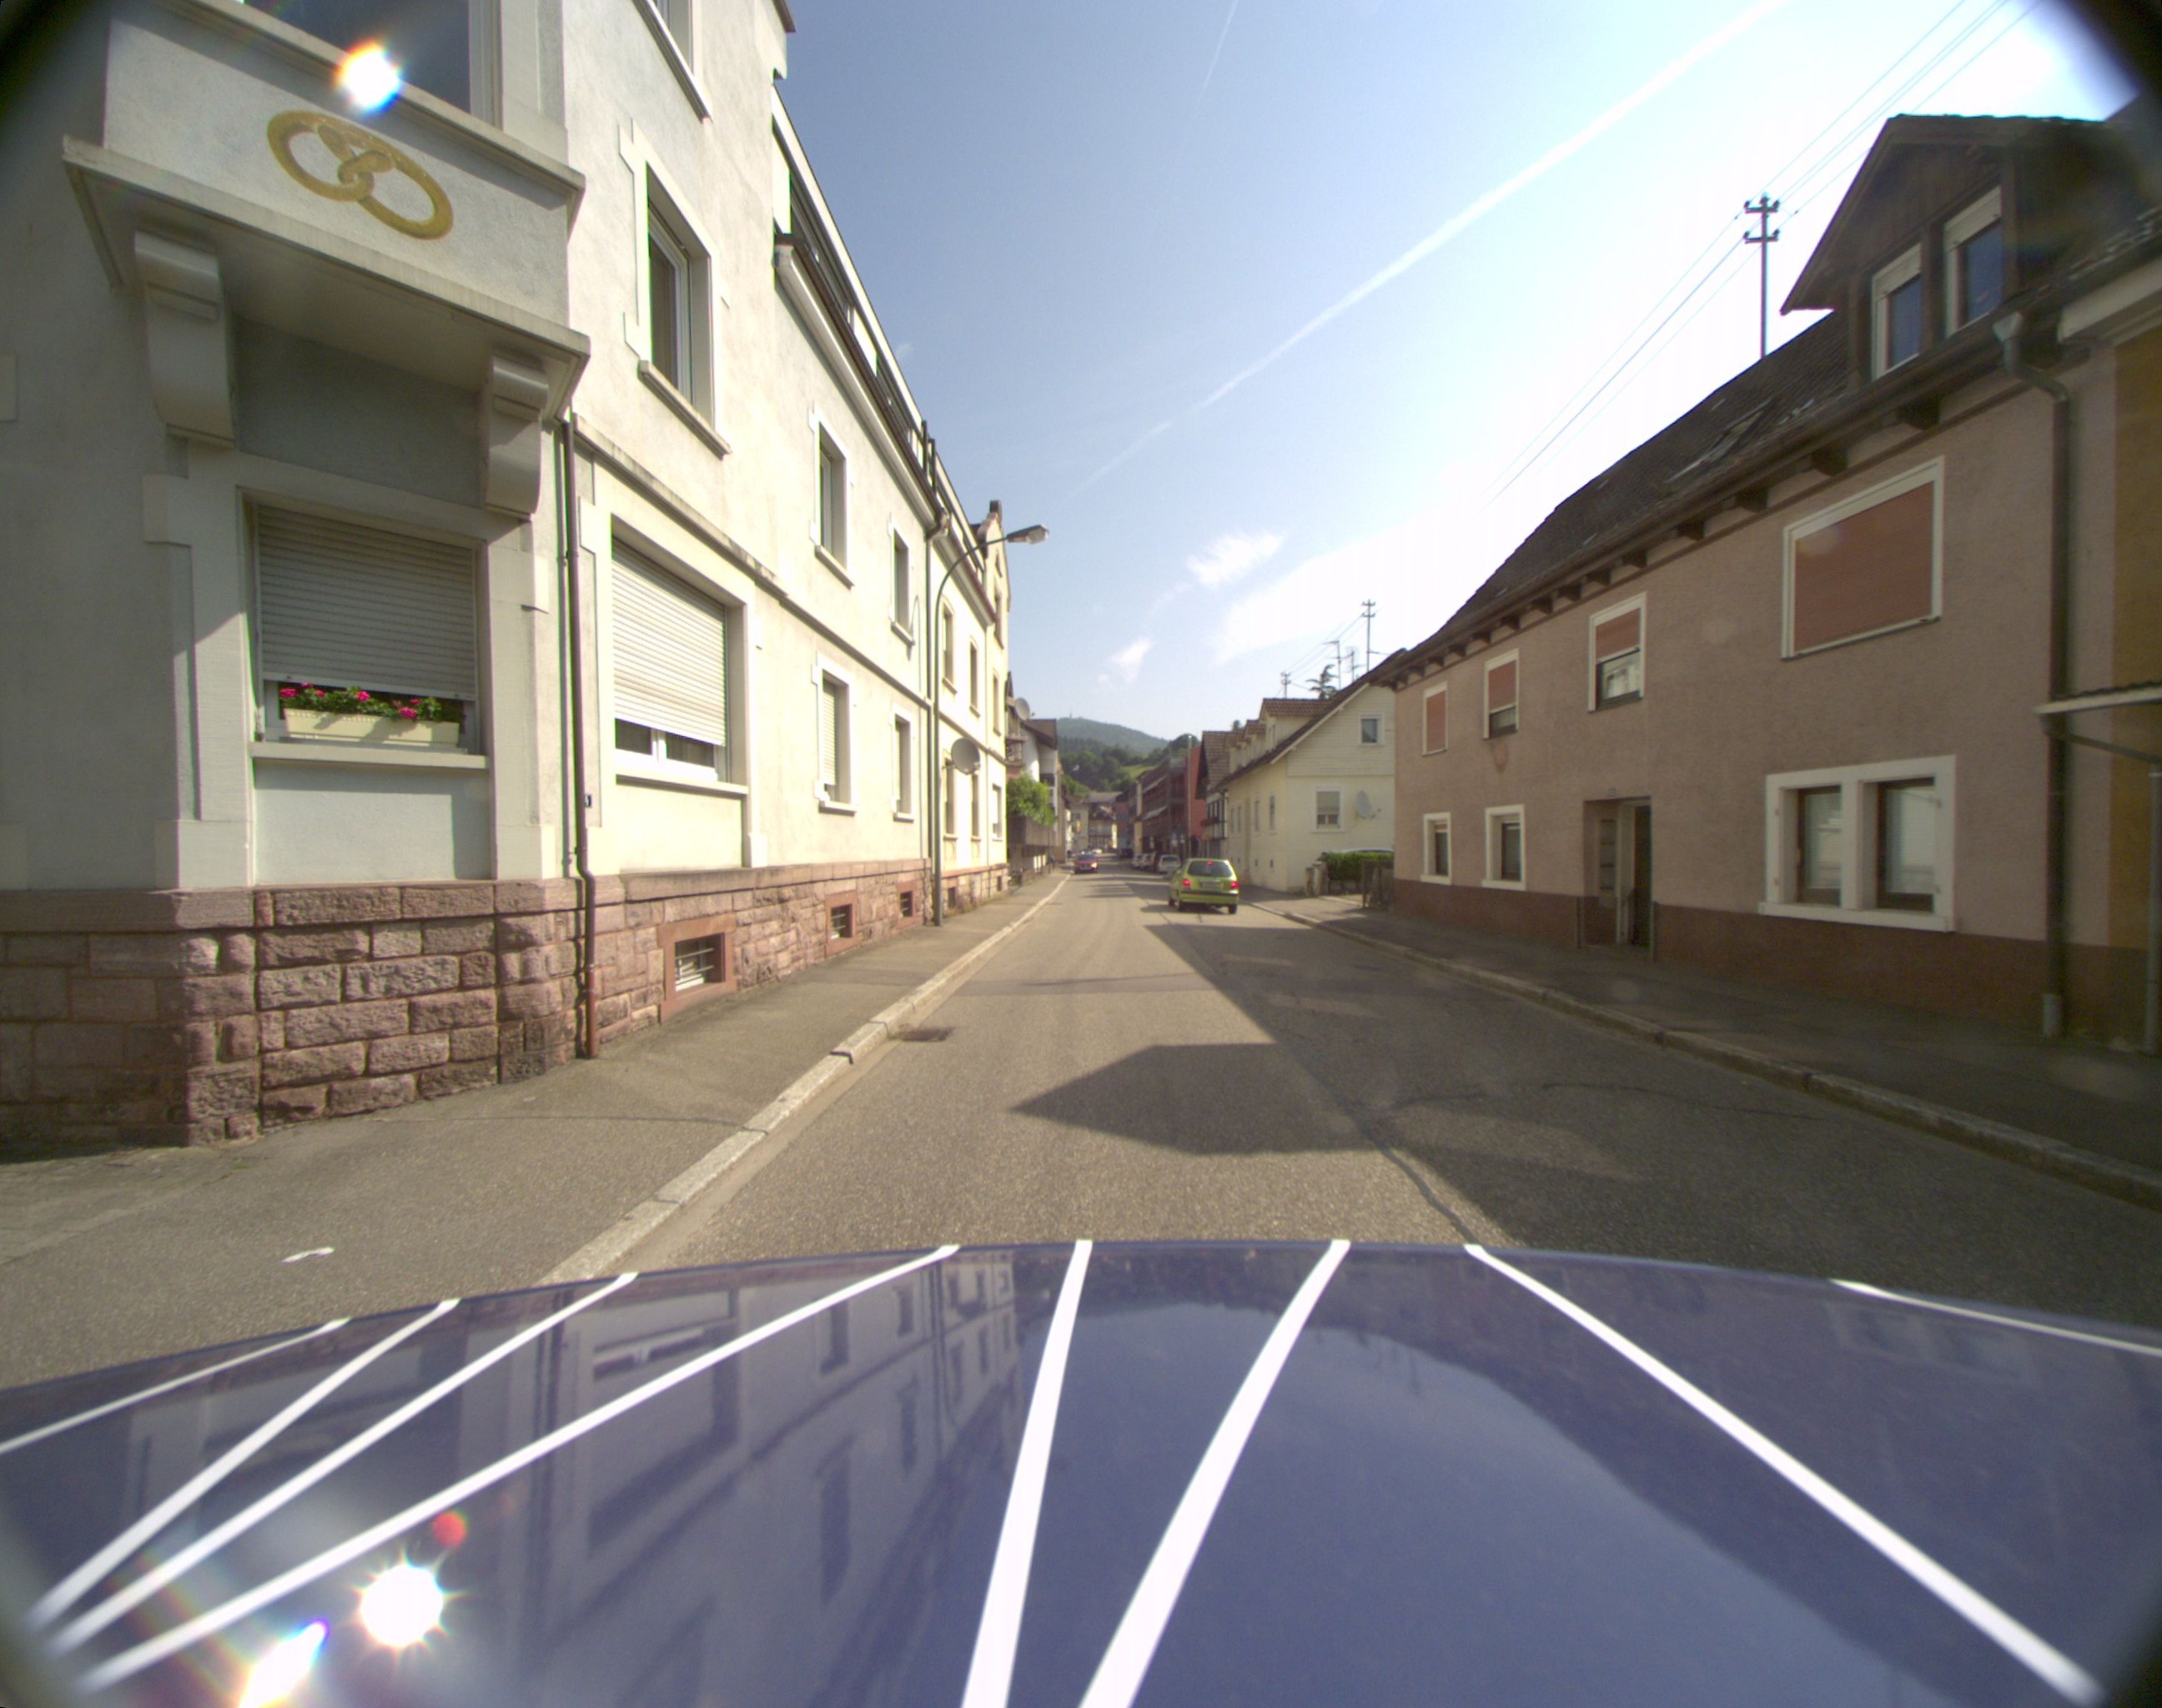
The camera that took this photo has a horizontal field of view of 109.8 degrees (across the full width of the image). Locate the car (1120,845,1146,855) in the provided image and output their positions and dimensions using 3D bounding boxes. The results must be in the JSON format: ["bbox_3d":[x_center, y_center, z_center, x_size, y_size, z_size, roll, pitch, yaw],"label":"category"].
[{"bbox_3d":[8.682,-0.659,126.597,4.000,1.674,1.834,-1,-1,-8],"label":"car"}]

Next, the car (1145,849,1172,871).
[{"bbox_3d":[6.495,0.473,64.043,1.724,1.786,4.268,-1,0,-2],"label":"car"}]

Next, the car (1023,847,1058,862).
[{"bbox_3d":[-4.582,0.070,86.433,3.837,1.470,1.700,-2,0,-2],"label":"car"}]

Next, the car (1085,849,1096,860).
[{"bbox_3d":[1.906,0.115,145.164,1.998,2.002,3.999,-2,1,1],"label":"car"}]

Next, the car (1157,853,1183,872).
[{"bbox_3d":[6.855,0.645,58.825,1.670,1.423,3.569,-2,0,1],"label":"car"}]

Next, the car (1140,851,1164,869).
[{"bbox_3d":[6.503,0.549,69.815,1.679,1.580,3.948,-1,0,-1],"label":"car"}]

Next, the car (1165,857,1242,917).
[{"bbox_3d":[3.436,0.875,21.867,1.600,1.456,3.659,3,0,1],"label":"car"}]

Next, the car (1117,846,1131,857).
[{"bbox_3d":[6.637,-0.460,118.299,1.787,1.566,3.888,-4,1,0],"label":"car"}]

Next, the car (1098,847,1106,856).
[{"bbox_3d":[4.888,-0.669,176.431,1.742,2.002,3.840,-1,0,2],"label":"car"}]

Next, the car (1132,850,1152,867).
[{"bbox_3d":[6.133,0.433,76.705,1.678,1.546,3.764,-2,0,-1],"label":"car"}]

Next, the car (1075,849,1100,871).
[{"bbox_3d":[0.494,0.483,59.352,1.822,1.652,4.000,-1,-1,-1],"label":"car"}]

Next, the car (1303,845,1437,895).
[{"bbox_3d":[10.207,0.545,27.041,3.997,1.584,1.907,-2,1,-2],"label":"car"}]
